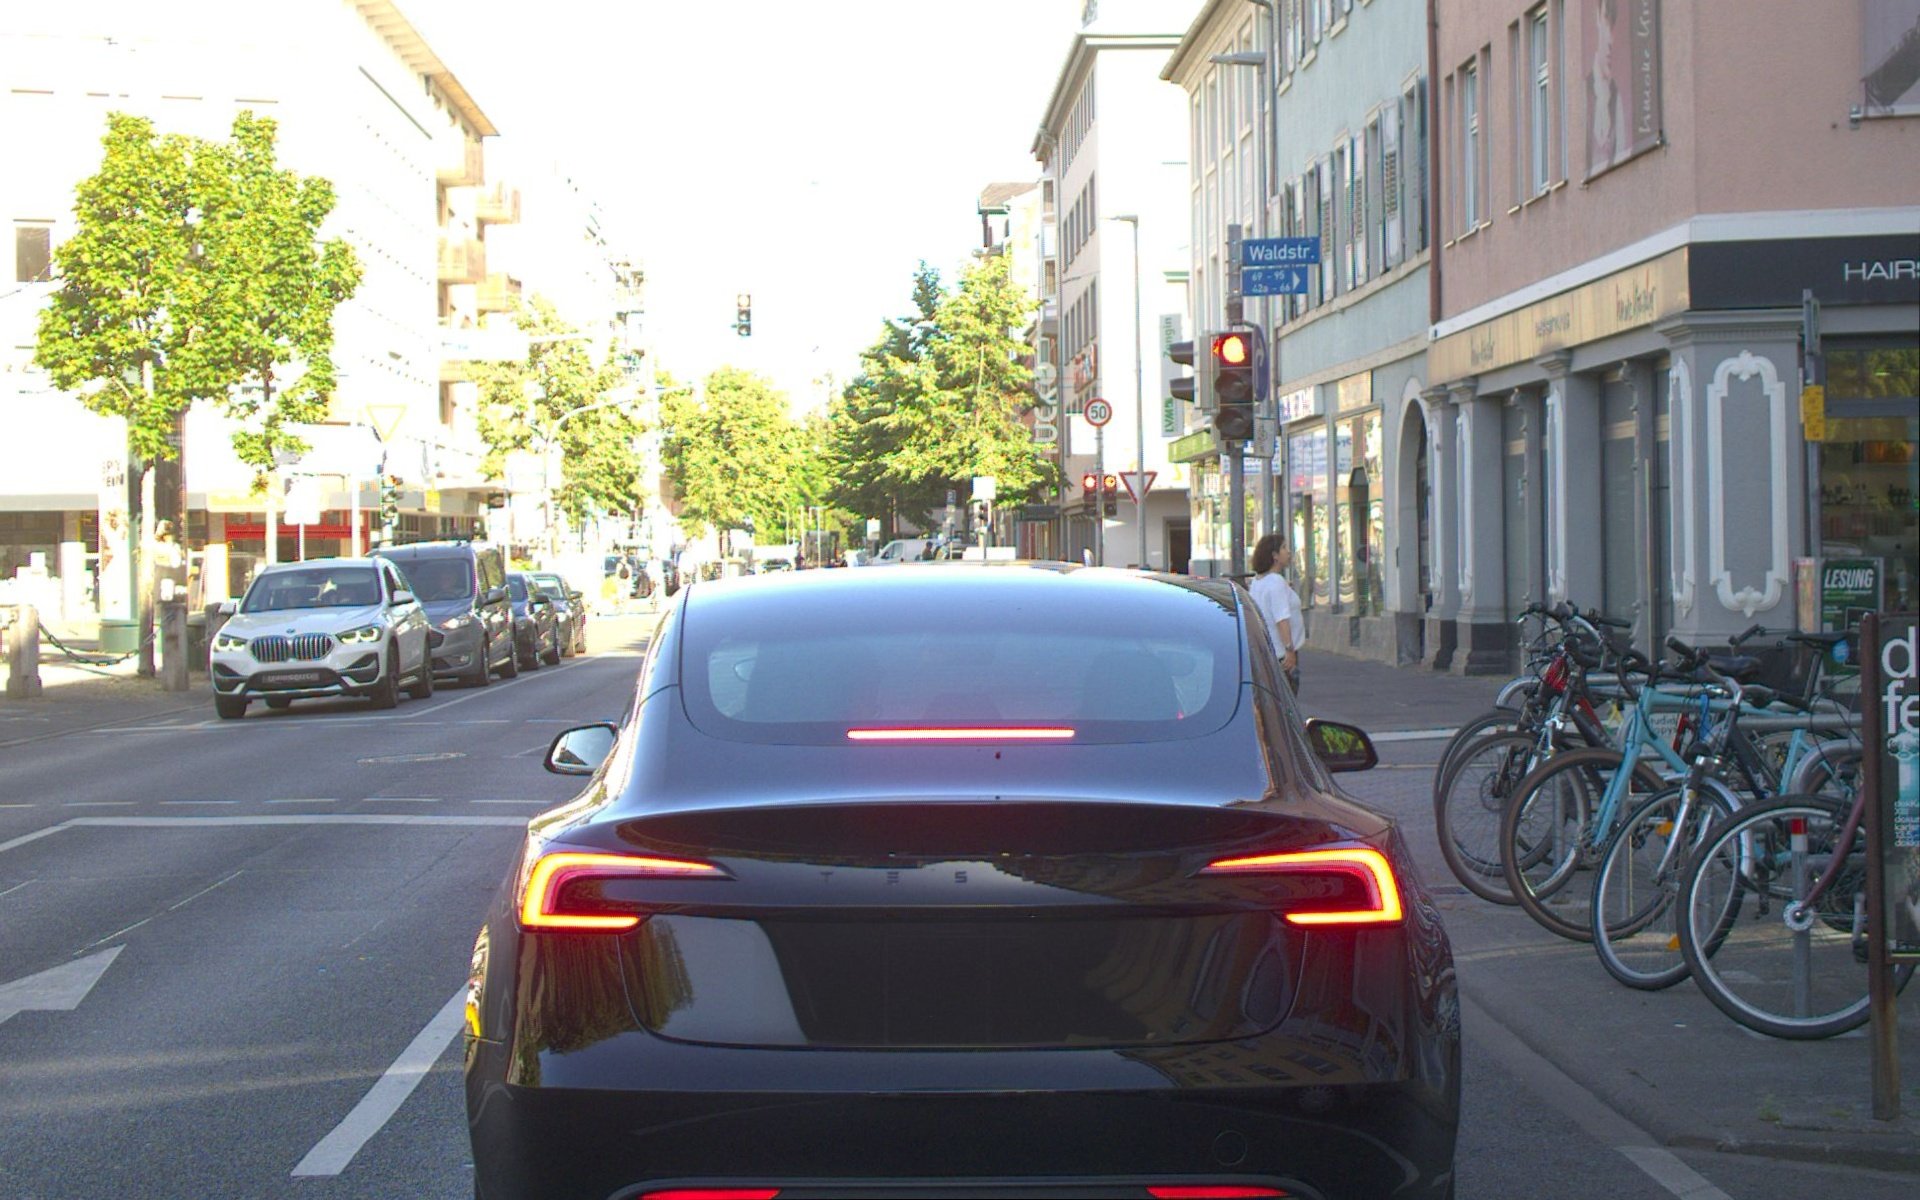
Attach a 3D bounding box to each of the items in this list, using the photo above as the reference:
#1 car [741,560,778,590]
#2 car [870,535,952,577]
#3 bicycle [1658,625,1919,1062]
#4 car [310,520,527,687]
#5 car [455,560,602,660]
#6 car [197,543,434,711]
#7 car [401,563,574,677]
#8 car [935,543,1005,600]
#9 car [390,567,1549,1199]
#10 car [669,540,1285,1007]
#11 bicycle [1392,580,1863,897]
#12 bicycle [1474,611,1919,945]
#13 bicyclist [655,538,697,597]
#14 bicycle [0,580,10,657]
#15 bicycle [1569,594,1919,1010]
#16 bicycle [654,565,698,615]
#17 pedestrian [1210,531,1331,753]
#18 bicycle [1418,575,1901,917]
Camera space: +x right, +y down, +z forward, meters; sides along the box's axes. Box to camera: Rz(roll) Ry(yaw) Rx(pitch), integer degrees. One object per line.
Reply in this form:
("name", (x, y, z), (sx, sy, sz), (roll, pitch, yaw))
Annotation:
("car", (-10.928, -1.367, 187.072), (1.993, 1.631, 4.001), (0, 1, -3))
("car", (-2.407, -2.146, 167.551), (3.986, 2.007, 2.000), (0, 1, -2))
("bicycle", (3.038, 0.675, 9.984), (1.886, 1.189, 0.691), (-2, 1, 5))
("car", (-6.638, -0.004, 42.602), (1.834, 1.838, 4.674), (-4, 1, 0))
("car", (-7.103, 0.126, 57.021), (1.993, 1.431, 4.675), (-4, 1, -3))
("car", (-6.743, 0.236, 36.370), (1.807, 1.550, 4.310), (-4, 1, -3))
("car", (-6.738, 0.244, 49.430), (1.993, 1.405, 4.675), (-4, 1, -3))
("car", (0.265, -0.847, 100.744), (1.993, 1.623, 4.000), (0, 1, 0))
("car", (-0.004, 0.660, 7.498), (1.848, 1.450, 4.000), (0, 1, -1))
("car", (-0.012, 0.525, 13.206), (1.993, 1.507, 4.176), (0, 1, -2))
("bicycle", (2.816, 0.575, 14.676), (1.862, 1.253, 0.832), (-2, 1, 5))
("bicycle", (2.812, 0.629, 12.467), (1.798, 1.120, 0.781), (-2, 1, 5))
("bicyclist", (-7.902, -0.907, 95.612), (1.126, 1.623, 0.965), (0, 1, -3))
("bicycle", (-15.704, 0.285, 52.229), (2.323, 1.152, 0.843), (0, 1, -5))
("bicycle", (2.892, 0.626, 11.116), (1.722, 1.263, 0.790), (-2, 1, 5))
("bicycle", (-7.885, -0.291, 95.528), (1.111, 1.340, 4.001), (0, 1, -3))
("pedestrian", (2.188, 0.288, 24.279), (0.747, 1.547, 0.699), (0, 1, -4))
("bicycle", (2.746, 0.563, 13.646), (1.746, 1.262, 0.781), (-2, 1, 3))
